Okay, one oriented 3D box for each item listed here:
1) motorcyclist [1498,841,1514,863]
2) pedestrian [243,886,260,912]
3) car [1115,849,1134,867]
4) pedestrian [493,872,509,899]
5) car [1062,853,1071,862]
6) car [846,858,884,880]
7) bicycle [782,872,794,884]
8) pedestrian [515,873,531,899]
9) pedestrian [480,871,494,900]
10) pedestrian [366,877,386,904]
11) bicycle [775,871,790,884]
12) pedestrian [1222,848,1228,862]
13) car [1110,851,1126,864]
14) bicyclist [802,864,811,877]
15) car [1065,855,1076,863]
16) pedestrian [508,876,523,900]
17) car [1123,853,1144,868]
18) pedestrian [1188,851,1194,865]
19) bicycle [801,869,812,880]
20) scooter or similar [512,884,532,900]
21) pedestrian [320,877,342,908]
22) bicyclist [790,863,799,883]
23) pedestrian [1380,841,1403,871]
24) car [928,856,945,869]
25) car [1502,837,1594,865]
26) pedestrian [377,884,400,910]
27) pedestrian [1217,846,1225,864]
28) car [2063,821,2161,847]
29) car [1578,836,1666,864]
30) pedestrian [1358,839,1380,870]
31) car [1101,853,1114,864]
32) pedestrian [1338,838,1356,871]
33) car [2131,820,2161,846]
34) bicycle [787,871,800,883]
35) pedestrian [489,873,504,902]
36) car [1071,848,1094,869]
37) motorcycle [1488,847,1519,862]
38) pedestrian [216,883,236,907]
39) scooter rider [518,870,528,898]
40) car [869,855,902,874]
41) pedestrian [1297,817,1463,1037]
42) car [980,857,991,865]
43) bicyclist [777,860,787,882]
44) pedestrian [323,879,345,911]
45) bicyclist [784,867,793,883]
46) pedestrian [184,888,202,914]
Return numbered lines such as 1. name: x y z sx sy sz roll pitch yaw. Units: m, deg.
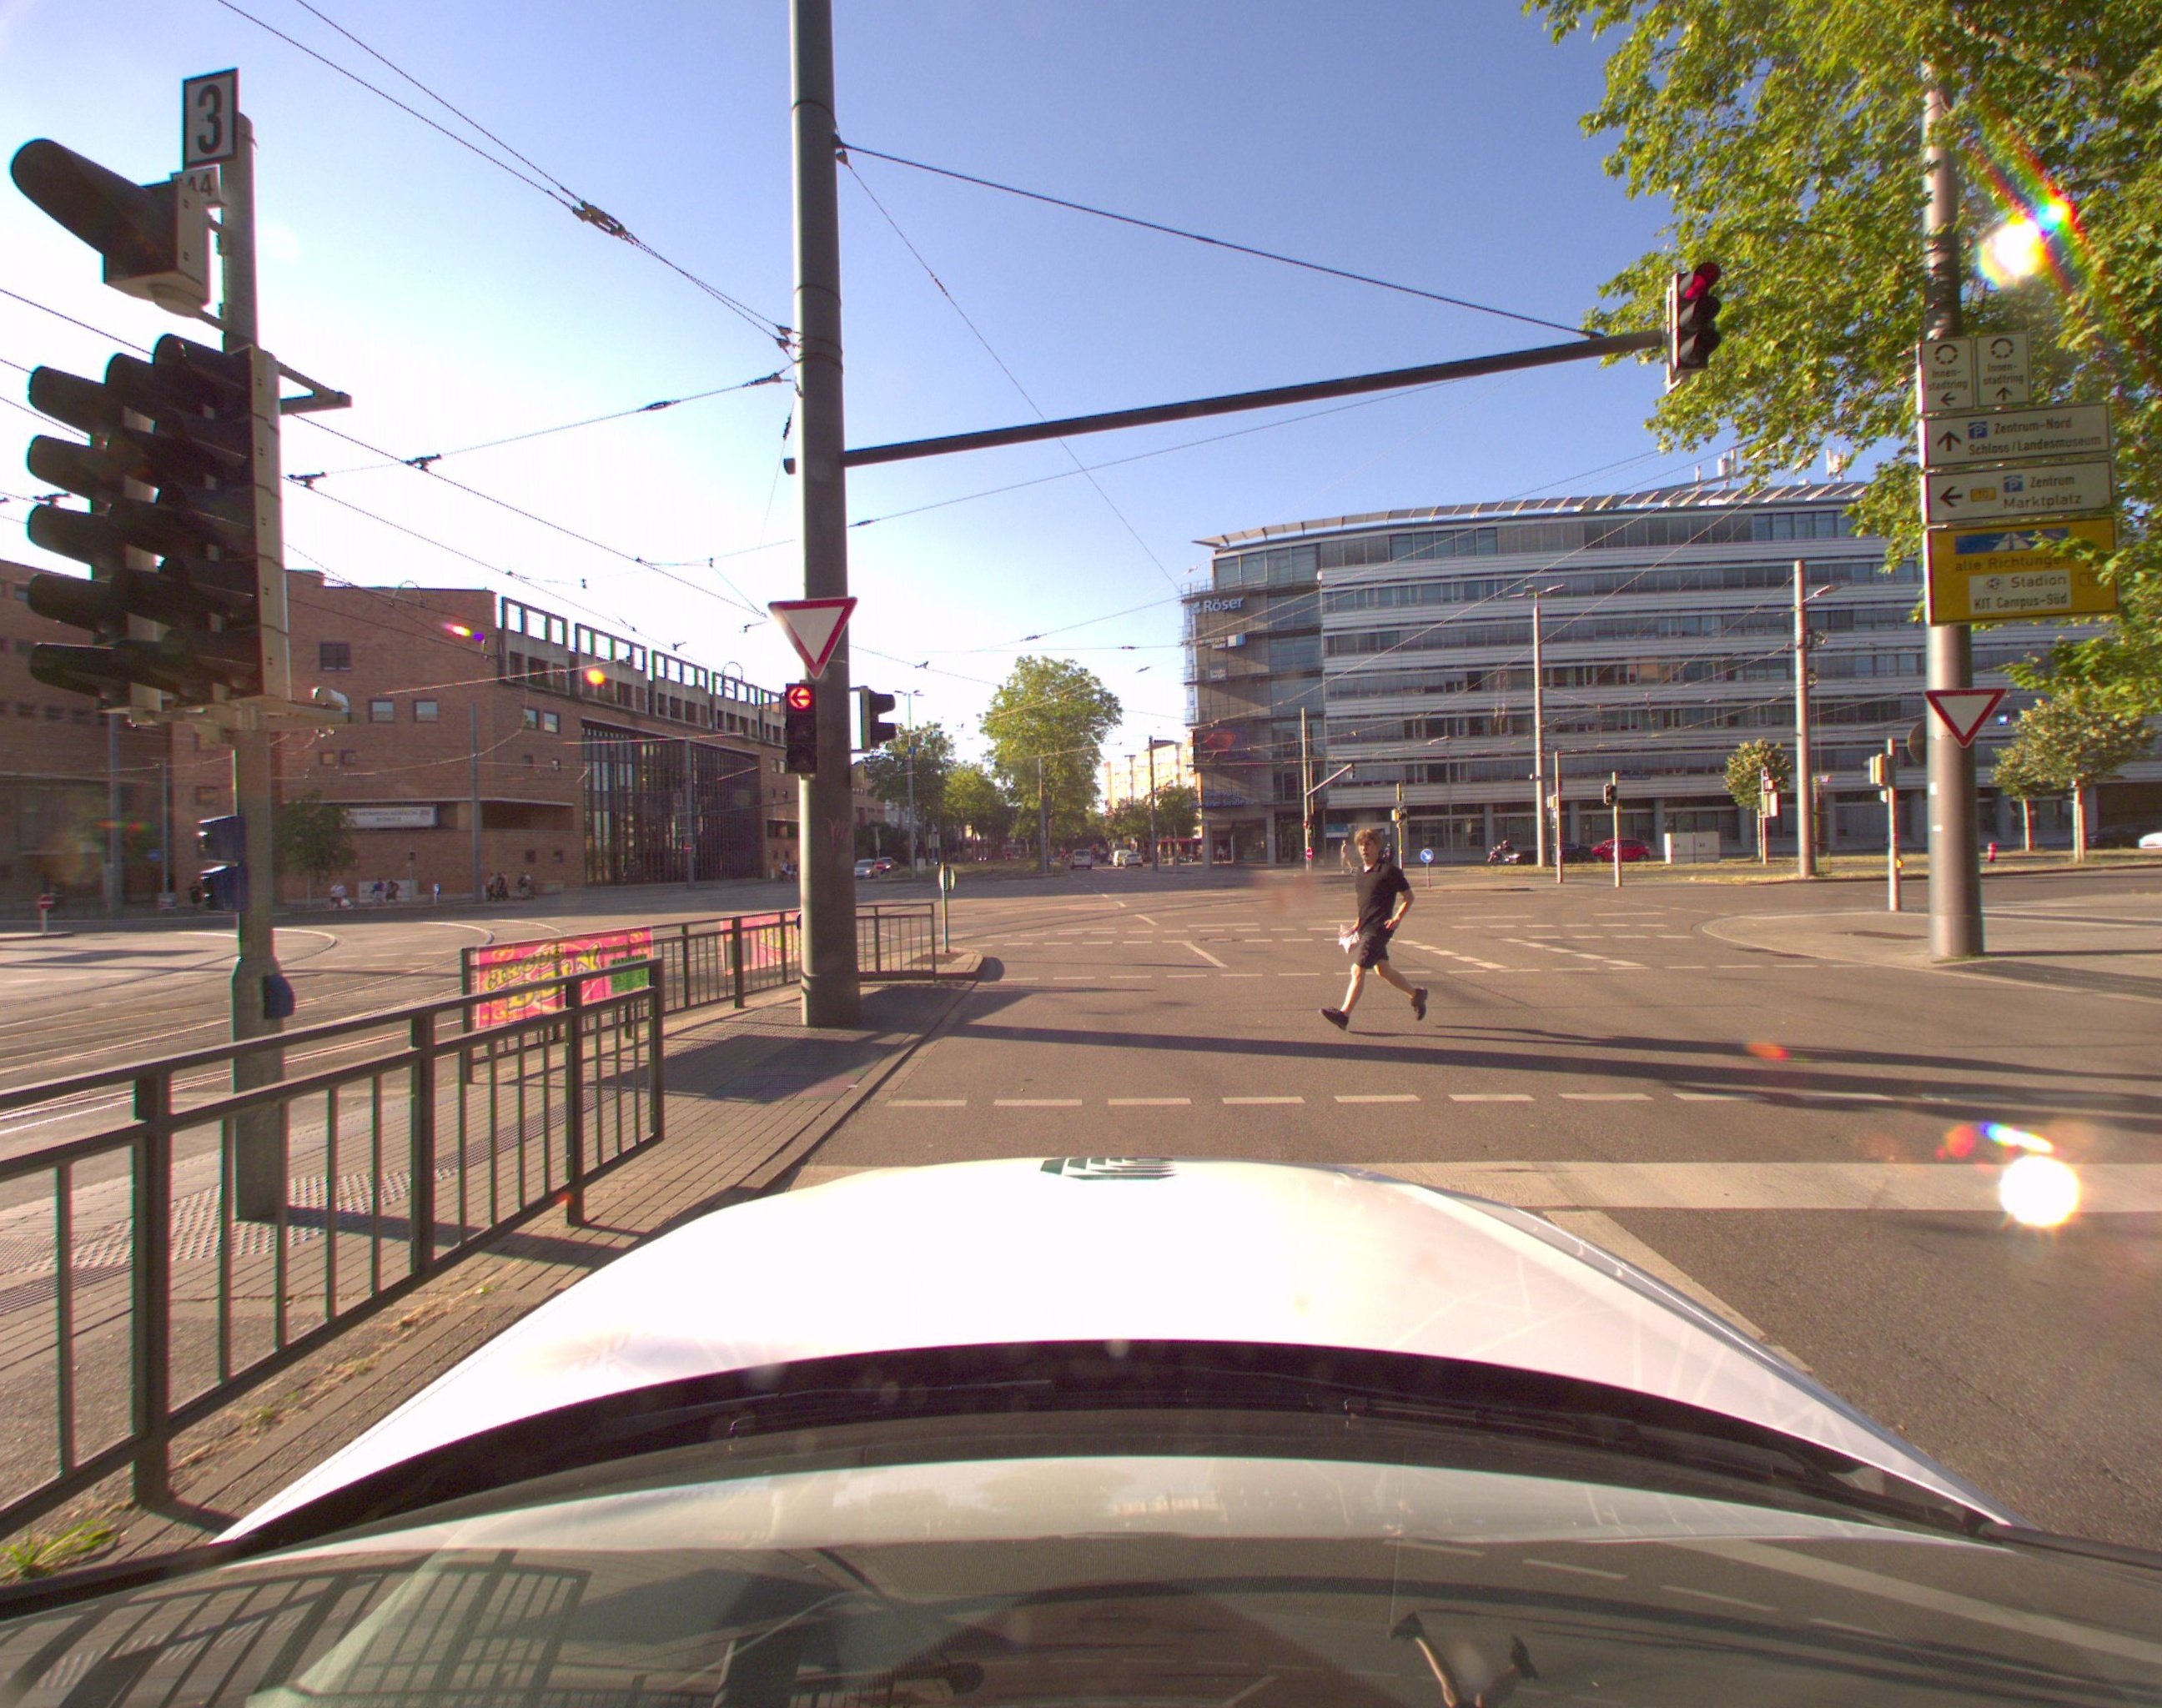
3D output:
1. motorcyclist: 25.616 -0.138 49.051 0.708 1.275 0.460 -2 0 5
2. pedestrian: -49.097 2.670 48.203 0.508 1.463 0.466 -2 0 -6
3. car: 4.743 0.450 89.643 1.986 1.860 4.002 -2 0 2
4. pedestrian: -36.215 1.956 50.827 0.566 1.683 0.553 -2 0 28
5. car: -3.592 0.840 203.634 1.986 2.013 4.001 -2 0 1
6. car: -18.006 1.219 67.957 1.987 1.640 4.001 -2 0 1
7. bicycle: -25.016 2.010 69.535 0.466 0.963 1.320 -2 0 2
8. pedestrian: -35.288 2.033 51.509 0.605 1.625 0.622 -2 0 39
9. pedestrian: -36.027 1.901 49.389 0.625 1.683 0.643 -2 0 -38
10. pedestrian: -38.618 1.982 44.612 0.562 1.453 0.618 -2 0 30
11. bicycle: -24.338 1.901 66.394 0.540 0.963 1.587 -2 0 2
12. pedestrian: 15.725 0.061 88.796 0.608 1.507 0.580 -2 0 9
13. car: 4.820 0.477 105.299 1.986 1.618 4.002 -2 0 2
14. bicyclist: -24.386 1.459 72.374 0.503 1.179 0.581 -2 0 1
15. car: -1.853 0.949 147.169 1.792 1.442 3.999 0 -1 0
16. pedestrian: -34.988 2.106 50.415 0.634 1.421 0.603 -2 0 42
17. car: 5.290 0.621 82.826 1.986 1.376 4.002 -2 0 2
18. pedestrian: 14.167 0.520 104.816 0.741 1.714 0.612 -2 0 1
19. bicycle: -24.358 1.806 72.243 0.449 0.963 1.348 -2 0 2
20. scooter or similar: -33.729 2.278 49.154 0.956 0.899 0.173 -2 0 -45
21. pedestrian: -39.458 2.033 42.846 0.591 1.614 0.592 -2 0 15
22. bicyclist: -23.419 1.519 66.521 0.456 1.603 0.581 -2 0 1
23. pedestrian: 16.801 0.103 44.080 0.943 1.564 0.899 -2 0 9
24. car: -23.028 1.320 130.156 1.987 2.013 3.999 -2 0 -1
25. car: 26.437 -0.155 46.198 4.136 1.398 1.789 -2 0 7
26. pedestrian: -37.462 2.316 44.038 0.598 1.339 0.684 -2 0 16
27. pedestrian: 11.956 0.080 69.441 0.608 1.507 0.580 -2 0 10
28. car: 62.686 -1.193 49.229 4.136 1.398 1.789 -2 0 7
29. car: 32.160 -0.223 48.505 3.966 1.393 1.789 -4 0 7
30. pedestrian: 15.963 0.027 45.206 0.907 1.685 1.038 -2 0 9
31. car: 4.093 0.655 126.781 1.986 1.618 4.002 -2 0 2
32. pedestrian: 14.579 0.033 44.628 0.856 1.788 0.876 -2 0 22
33. car: 58.513 -1.185 42.528 4.580 1.336 1.789 -2 0 7
34. bicycle: -23.440 1.857 66.425 0.471 0.963 1.576 -2 0 2
35. pedestrian: -35.215 2.018 49.058 0.585 1.683 0.554 -2 0 43
36. car: 0.201 0.385 77.532 1.953 1.848 5.333 -2 0 2
37. motorcycle: 25.469 0.034 49.063 1.560 0.810 0.468 -2 0 6
38. pedestrian: -51.392 2.452 48.958 0.555 1.427 0.558 -2 0 -12
39. scooter rider: -33.720 1.807 49.199 0.441 1.647 0.226 -2 0 -44
40. car: -18.117 0.962 75.532 1.987 1.640 4.001 -2 0 1
41. pedestrian: 2.534 0.579 6.967 1.089 1.748 0.740 -1 0 -11
42. car: -24.015 1.738 205.143 1.986 1.816 4.002 -2 0 2
43. bicyclist: -24.353 1.397 66.310 0.534 1.731 0.581 -2 0 1
44. pedestrian: -38.644 2.110 42.124 0.594 1.648 0.551 -2 0 17
45. bicyclist: -25.006 1.804 69.550 0.503 1.304 0.581 -2 0 1
46. pedestrian: -52.128 2.741 47.808 0.584 1.463 0.537 -2 0 23
